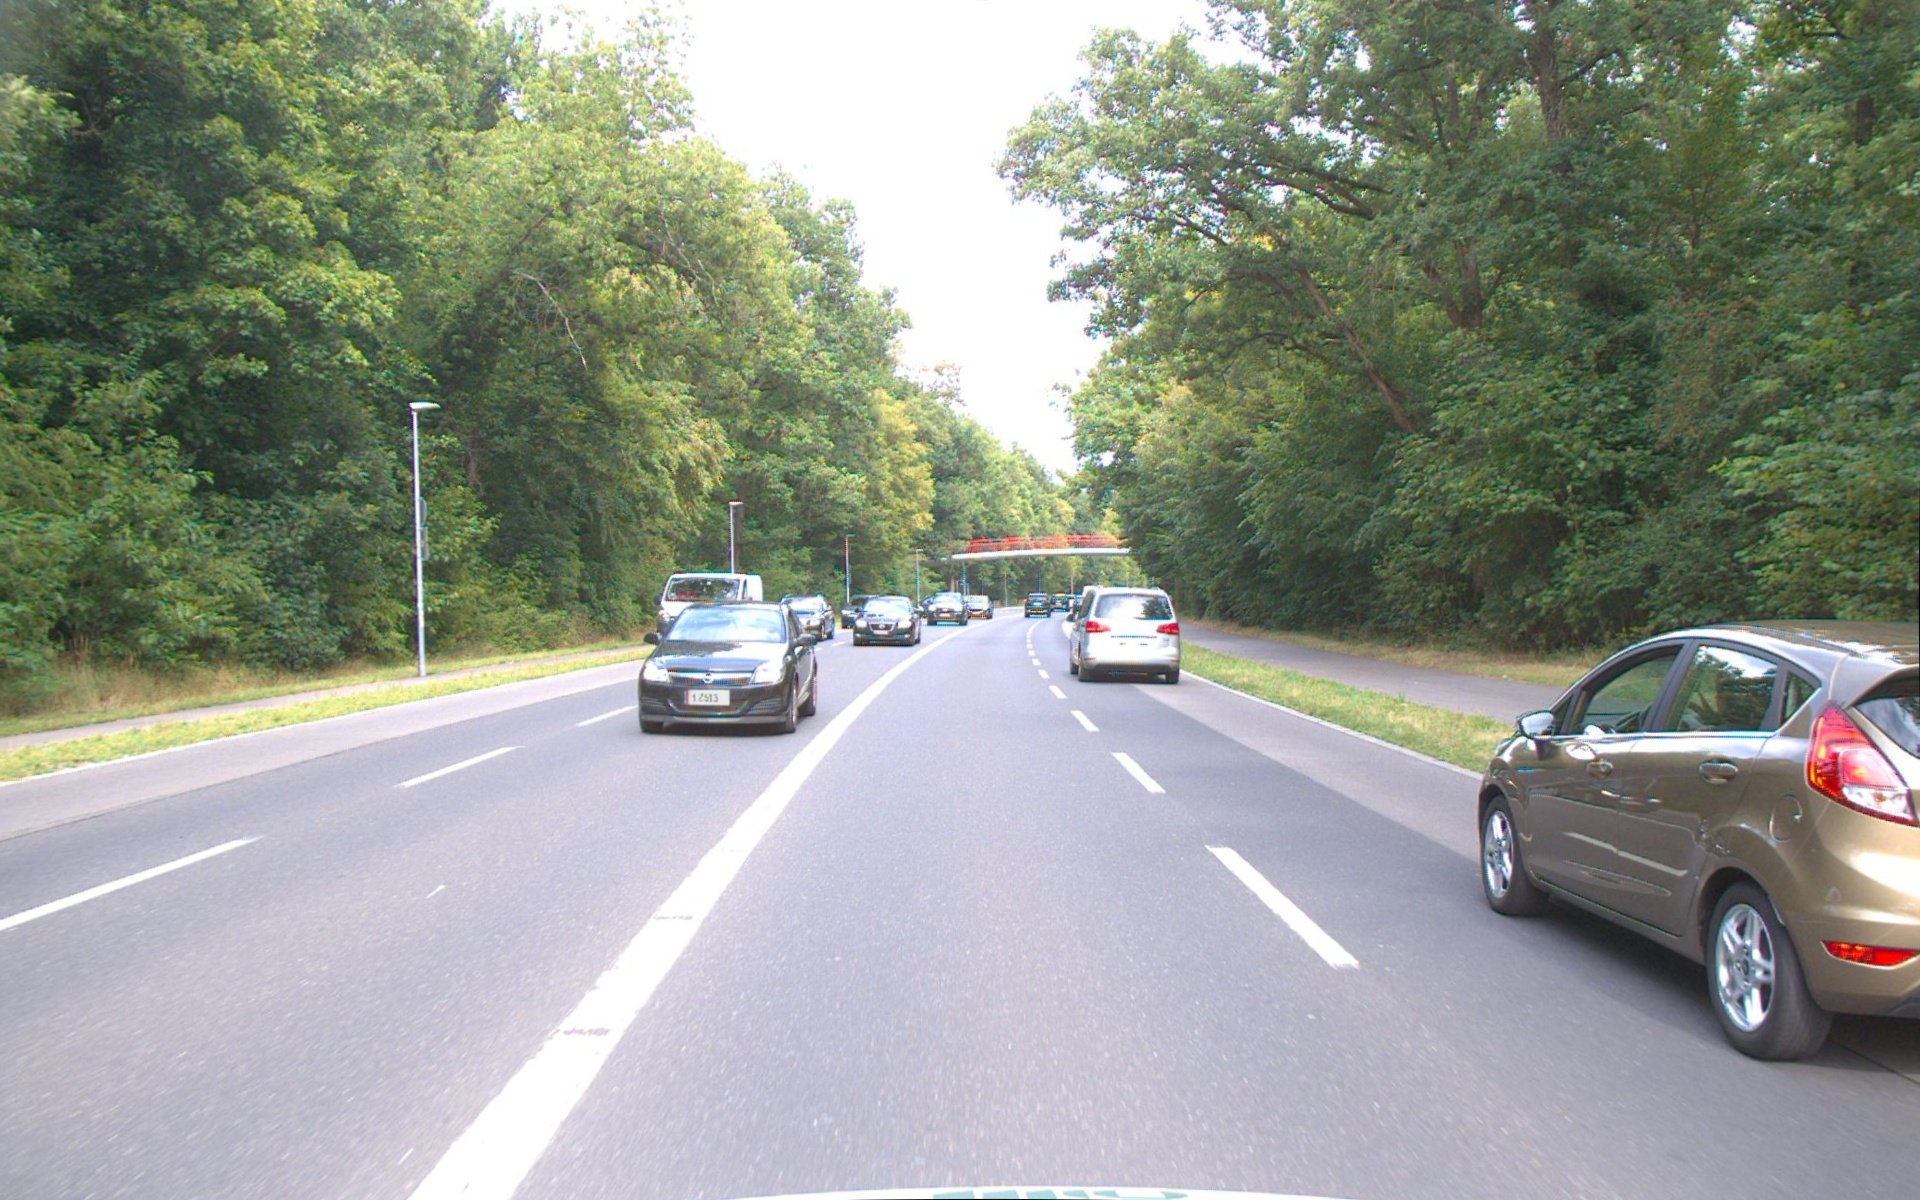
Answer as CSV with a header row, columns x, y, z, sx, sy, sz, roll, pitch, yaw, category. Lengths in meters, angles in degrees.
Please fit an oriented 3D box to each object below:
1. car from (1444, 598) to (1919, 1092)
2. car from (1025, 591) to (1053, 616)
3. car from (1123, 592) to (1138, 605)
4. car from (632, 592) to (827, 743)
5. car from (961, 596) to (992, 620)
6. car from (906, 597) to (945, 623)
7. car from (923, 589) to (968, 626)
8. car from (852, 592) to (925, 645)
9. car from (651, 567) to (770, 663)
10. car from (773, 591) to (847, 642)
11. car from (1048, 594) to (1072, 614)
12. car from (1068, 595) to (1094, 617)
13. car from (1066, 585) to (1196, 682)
x,y,z,sx,sy,sz,roll,pitch,yaw,category
3.444,0.766,6.885,1.602,1.445,3.999,2,-1,-1,car
5.530,0.253,115.784,1.693,1.615,4.002,1,-1,6,car
23.799,-0.163,230.436,1.951,1.735,4.003,-2,0,6,car
-2.539,0.727,19.062,1.622,1.512,3.866,2,-1,1,car
1.079,0.511,106.178,1.662,1.410,3.829,-3,-1,4,car
-2.194,0.644,105.531,1.951,1.579,4.002,1,-1,6,car
-0.702,0.393,82.860,1.922,1.735,4.002,-3,-1,3,car
-2.150,0.574,50.679,1.846,1.504,4.519,2,-1,2,car
-5.703,0.361,38.464,1.952,2.049,5.053,-1,-1,0,car
-4.868,0.562,54.205,1.846,1.585,4.519,0,-1,2,car
9.437,0.367,155.833,1.951,1.727,4.003,1,-1,7,car
10.417,0.529,142.365,1.951,1.780,4.003,1,-1,8,car
3.124,0.616,30.903,1.953,1.635,3.999,2,-1,0,car
